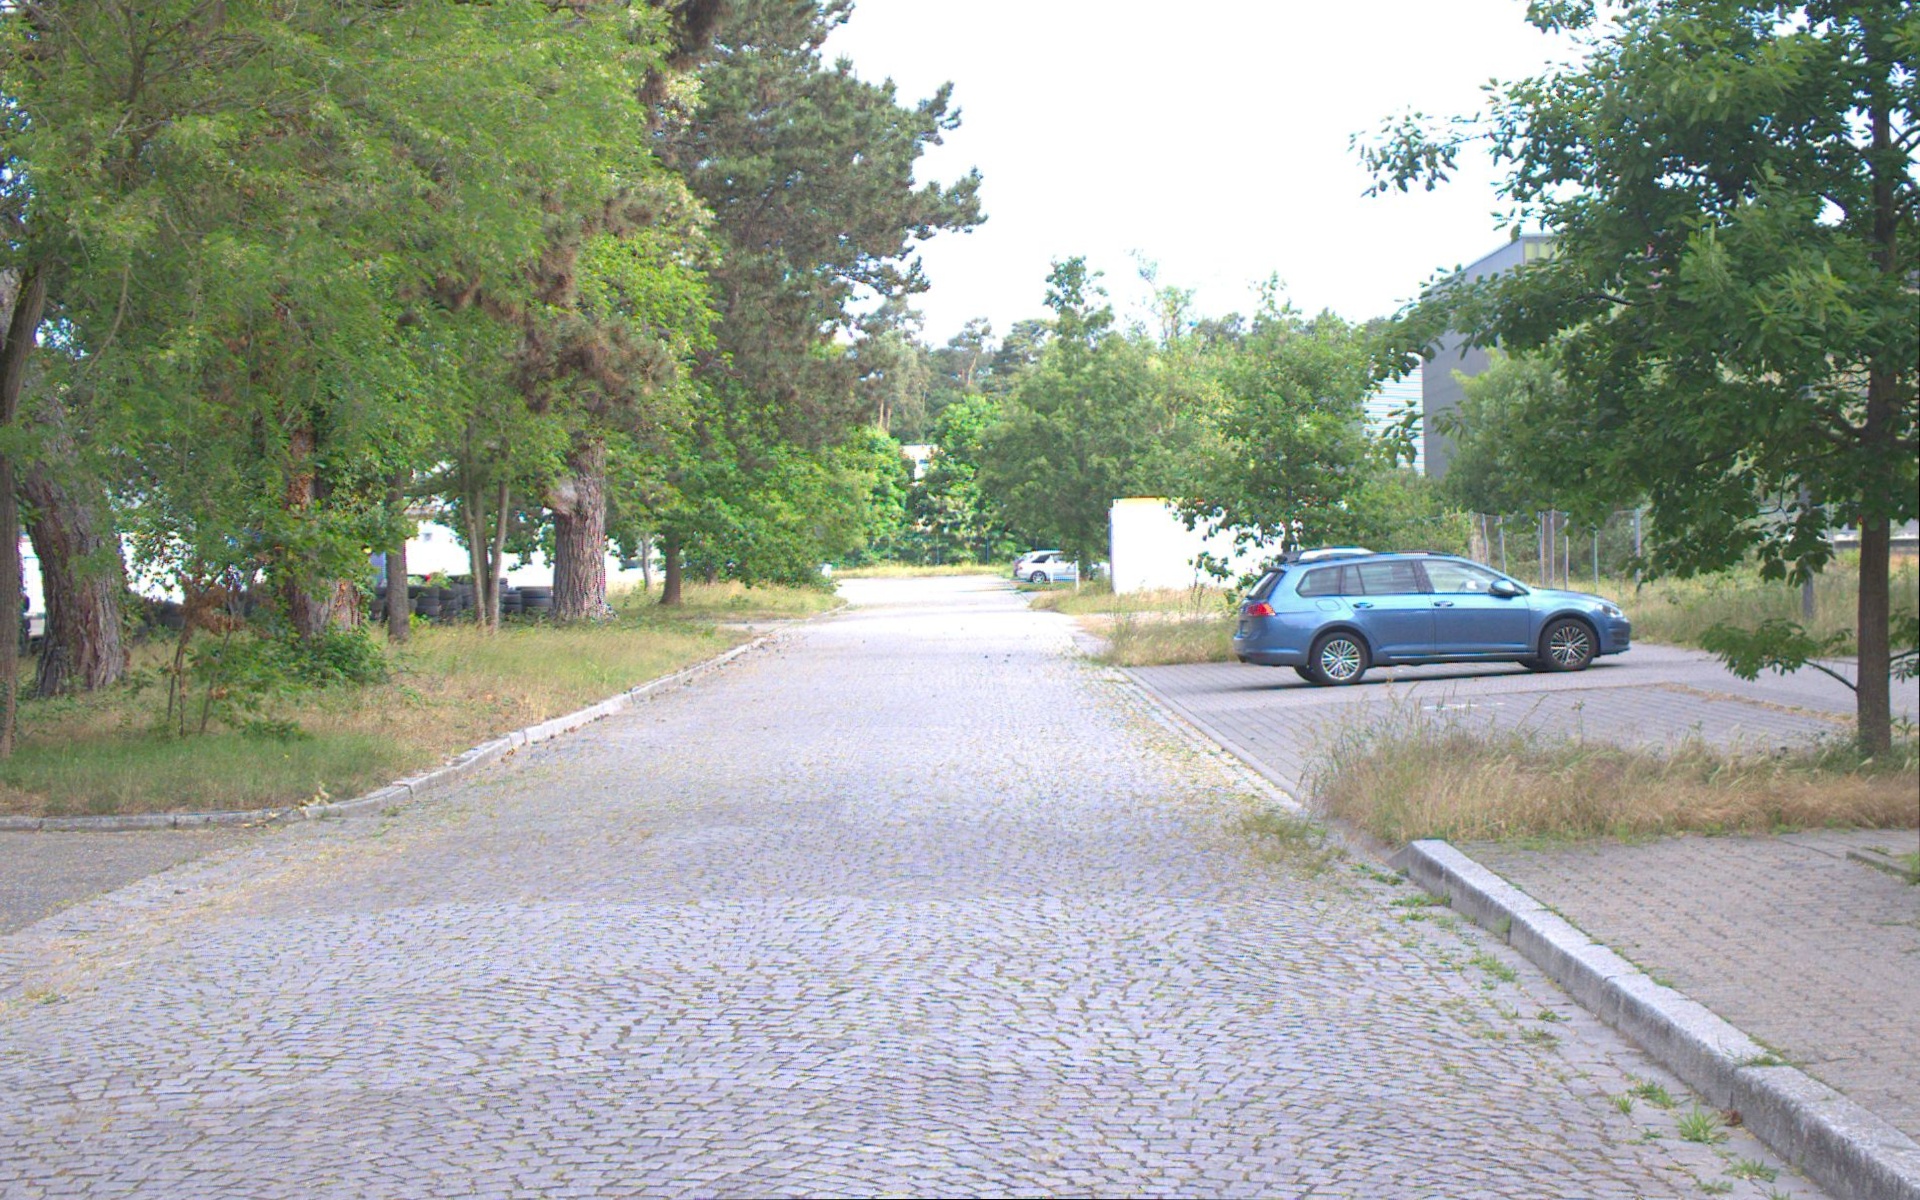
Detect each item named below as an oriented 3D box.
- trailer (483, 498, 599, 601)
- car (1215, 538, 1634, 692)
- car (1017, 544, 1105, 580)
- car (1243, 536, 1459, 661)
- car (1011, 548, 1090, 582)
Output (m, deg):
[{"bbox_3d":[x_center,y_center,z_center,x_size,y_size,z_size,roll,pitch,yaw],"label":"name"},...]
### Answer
[{"bbox_3d":[-15.422,-1.872,127.264,2.625,3.585,10.177,-1,1,2],"label":"trailer"},{"bbox_3d":[5.341,0.155,39.890,4.490,1.470,1.831,-4,1,-2],"label":"car"},{"bbox_3d":[4.669,-1.760,159.715,3.985,1.443,1.653,-3,1,1],"label":"car"},{"bbox_3d":[5.374,-0.033,47.460,2.710,1.551,1.653,-3,1,0],"label":"car"},{"bbox_3d":[4.132,-1.605,157.026,3.522,1.357,1.622,-3,1,1],"label":"car"}]
